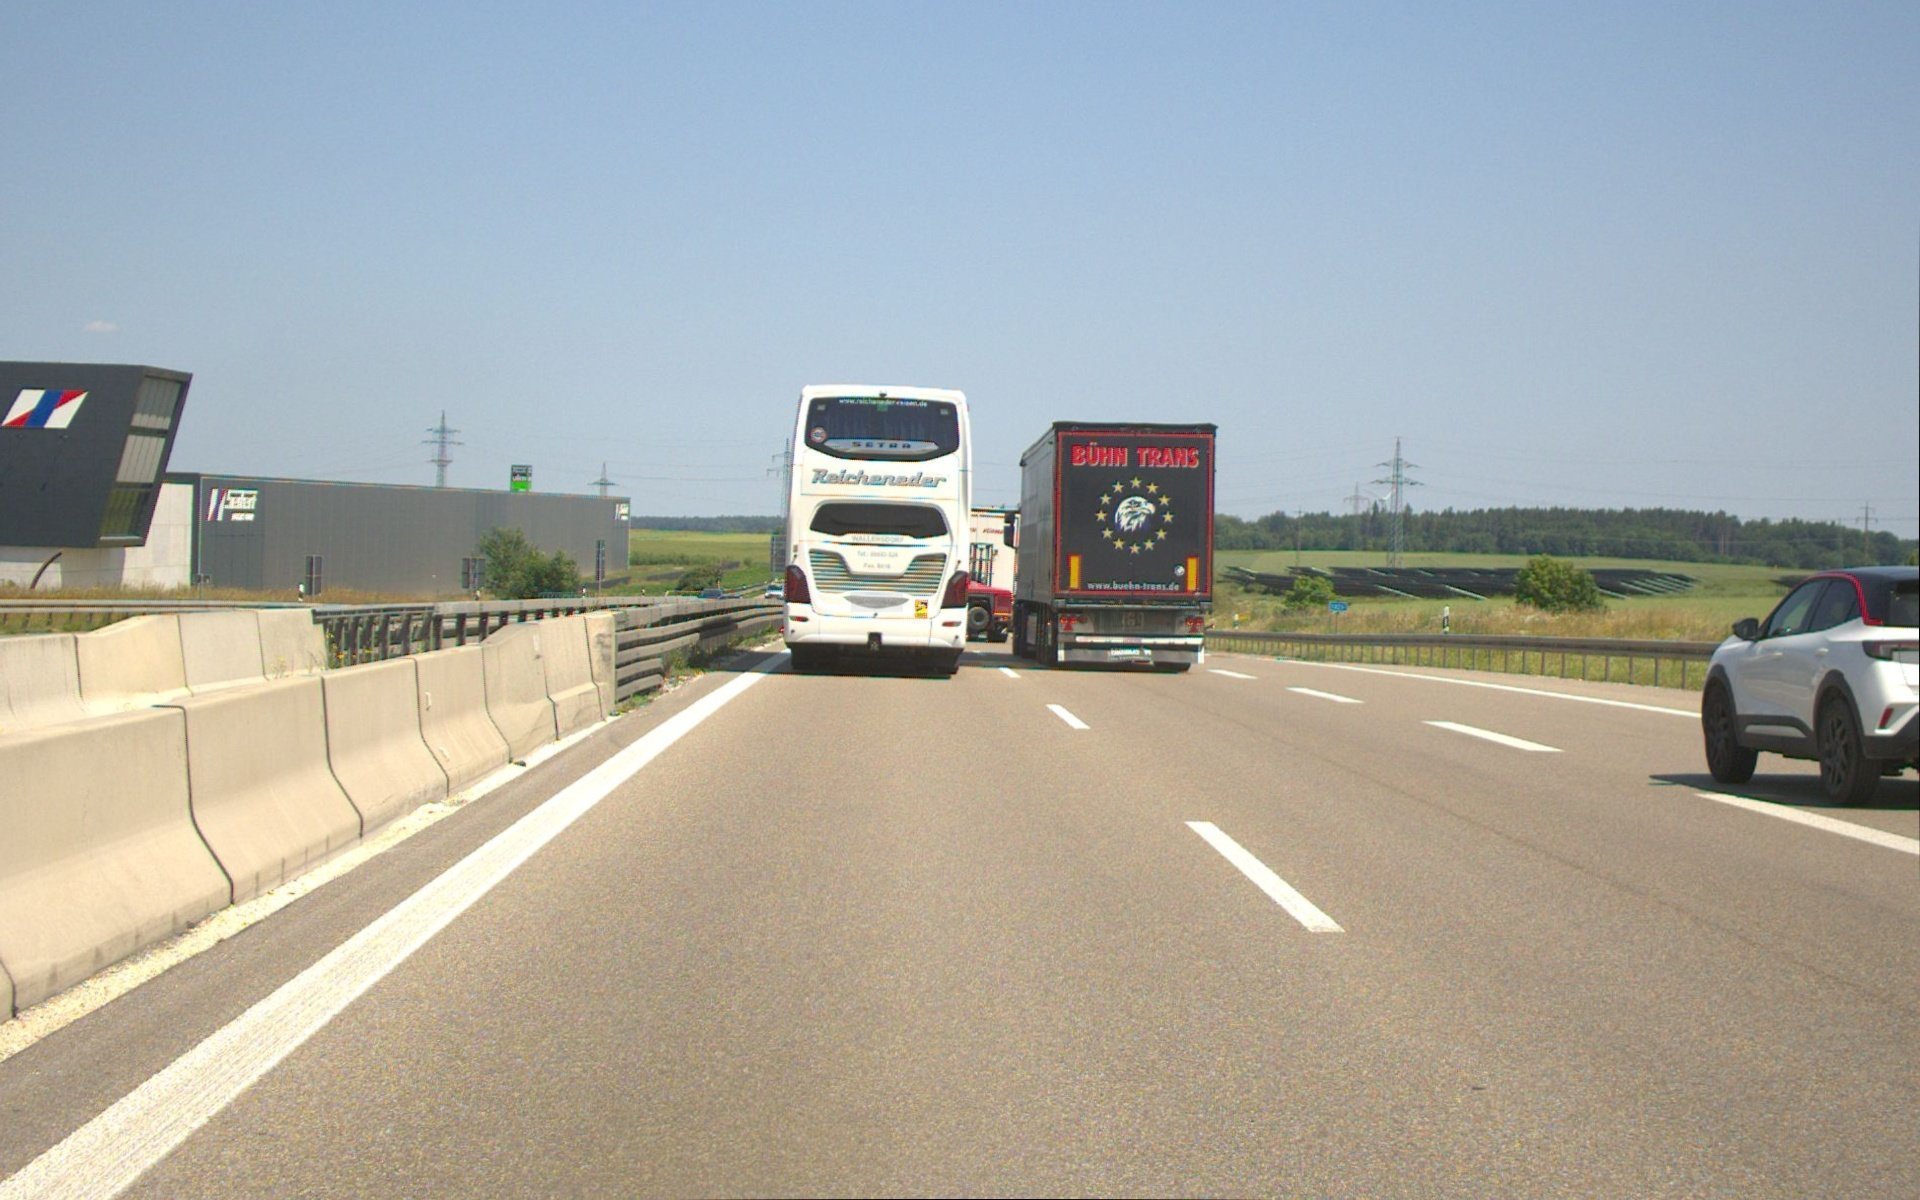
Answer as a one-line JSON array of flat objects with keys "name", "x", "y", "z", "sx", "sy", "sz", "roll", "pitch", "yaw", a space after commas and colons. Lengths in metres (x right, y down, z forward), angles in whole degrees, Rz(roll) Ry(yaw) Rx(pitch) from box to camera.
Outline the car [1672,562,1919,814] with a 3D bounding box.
[{"name": "car", "x": 6.329, "y": 0.526, "z": 23.370, "sx": 1.891, "sy": 1.524, "sz": 4.262, "roll": 0, "pitch": 1, "yaw": -3}]

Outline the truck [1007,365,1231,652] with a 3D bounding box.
[{"name": "truck", "x": 2.589, "y": -1.373, "z": 60.793, "sx": 3.379, "sy": 4.448, "sz": 13.566, "roll": 1, "pitch": -1, "yaw": 1}]

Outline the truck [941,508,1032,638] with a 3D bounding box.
[{"name": "truck", "x": 0.754, "y": -0.823, "z": 104.204, "sx": 2.437, "sy": 3.776, "sz": 6.494, "roll": 1, "pitch": 0, "yaw": -2}]

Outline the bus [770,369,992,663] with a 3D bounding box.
[{"name": "bus", "x": -1.231, "y": -1.305, "z": 51.313, "sx": 2.980, "sy": 3.961, "sz": 9.106, "roll": 1, "pitch": 2, "yaw": -2}]

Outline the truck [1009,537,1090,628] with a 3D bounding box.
[{"name": "truck", "x": 3.430, "y": -0.715, "z": 133.124, "sx": 2.582, "sy": 3.389, "sz": 8.685, "roll": 0, "pitch": 1, "yaw": -2}]
